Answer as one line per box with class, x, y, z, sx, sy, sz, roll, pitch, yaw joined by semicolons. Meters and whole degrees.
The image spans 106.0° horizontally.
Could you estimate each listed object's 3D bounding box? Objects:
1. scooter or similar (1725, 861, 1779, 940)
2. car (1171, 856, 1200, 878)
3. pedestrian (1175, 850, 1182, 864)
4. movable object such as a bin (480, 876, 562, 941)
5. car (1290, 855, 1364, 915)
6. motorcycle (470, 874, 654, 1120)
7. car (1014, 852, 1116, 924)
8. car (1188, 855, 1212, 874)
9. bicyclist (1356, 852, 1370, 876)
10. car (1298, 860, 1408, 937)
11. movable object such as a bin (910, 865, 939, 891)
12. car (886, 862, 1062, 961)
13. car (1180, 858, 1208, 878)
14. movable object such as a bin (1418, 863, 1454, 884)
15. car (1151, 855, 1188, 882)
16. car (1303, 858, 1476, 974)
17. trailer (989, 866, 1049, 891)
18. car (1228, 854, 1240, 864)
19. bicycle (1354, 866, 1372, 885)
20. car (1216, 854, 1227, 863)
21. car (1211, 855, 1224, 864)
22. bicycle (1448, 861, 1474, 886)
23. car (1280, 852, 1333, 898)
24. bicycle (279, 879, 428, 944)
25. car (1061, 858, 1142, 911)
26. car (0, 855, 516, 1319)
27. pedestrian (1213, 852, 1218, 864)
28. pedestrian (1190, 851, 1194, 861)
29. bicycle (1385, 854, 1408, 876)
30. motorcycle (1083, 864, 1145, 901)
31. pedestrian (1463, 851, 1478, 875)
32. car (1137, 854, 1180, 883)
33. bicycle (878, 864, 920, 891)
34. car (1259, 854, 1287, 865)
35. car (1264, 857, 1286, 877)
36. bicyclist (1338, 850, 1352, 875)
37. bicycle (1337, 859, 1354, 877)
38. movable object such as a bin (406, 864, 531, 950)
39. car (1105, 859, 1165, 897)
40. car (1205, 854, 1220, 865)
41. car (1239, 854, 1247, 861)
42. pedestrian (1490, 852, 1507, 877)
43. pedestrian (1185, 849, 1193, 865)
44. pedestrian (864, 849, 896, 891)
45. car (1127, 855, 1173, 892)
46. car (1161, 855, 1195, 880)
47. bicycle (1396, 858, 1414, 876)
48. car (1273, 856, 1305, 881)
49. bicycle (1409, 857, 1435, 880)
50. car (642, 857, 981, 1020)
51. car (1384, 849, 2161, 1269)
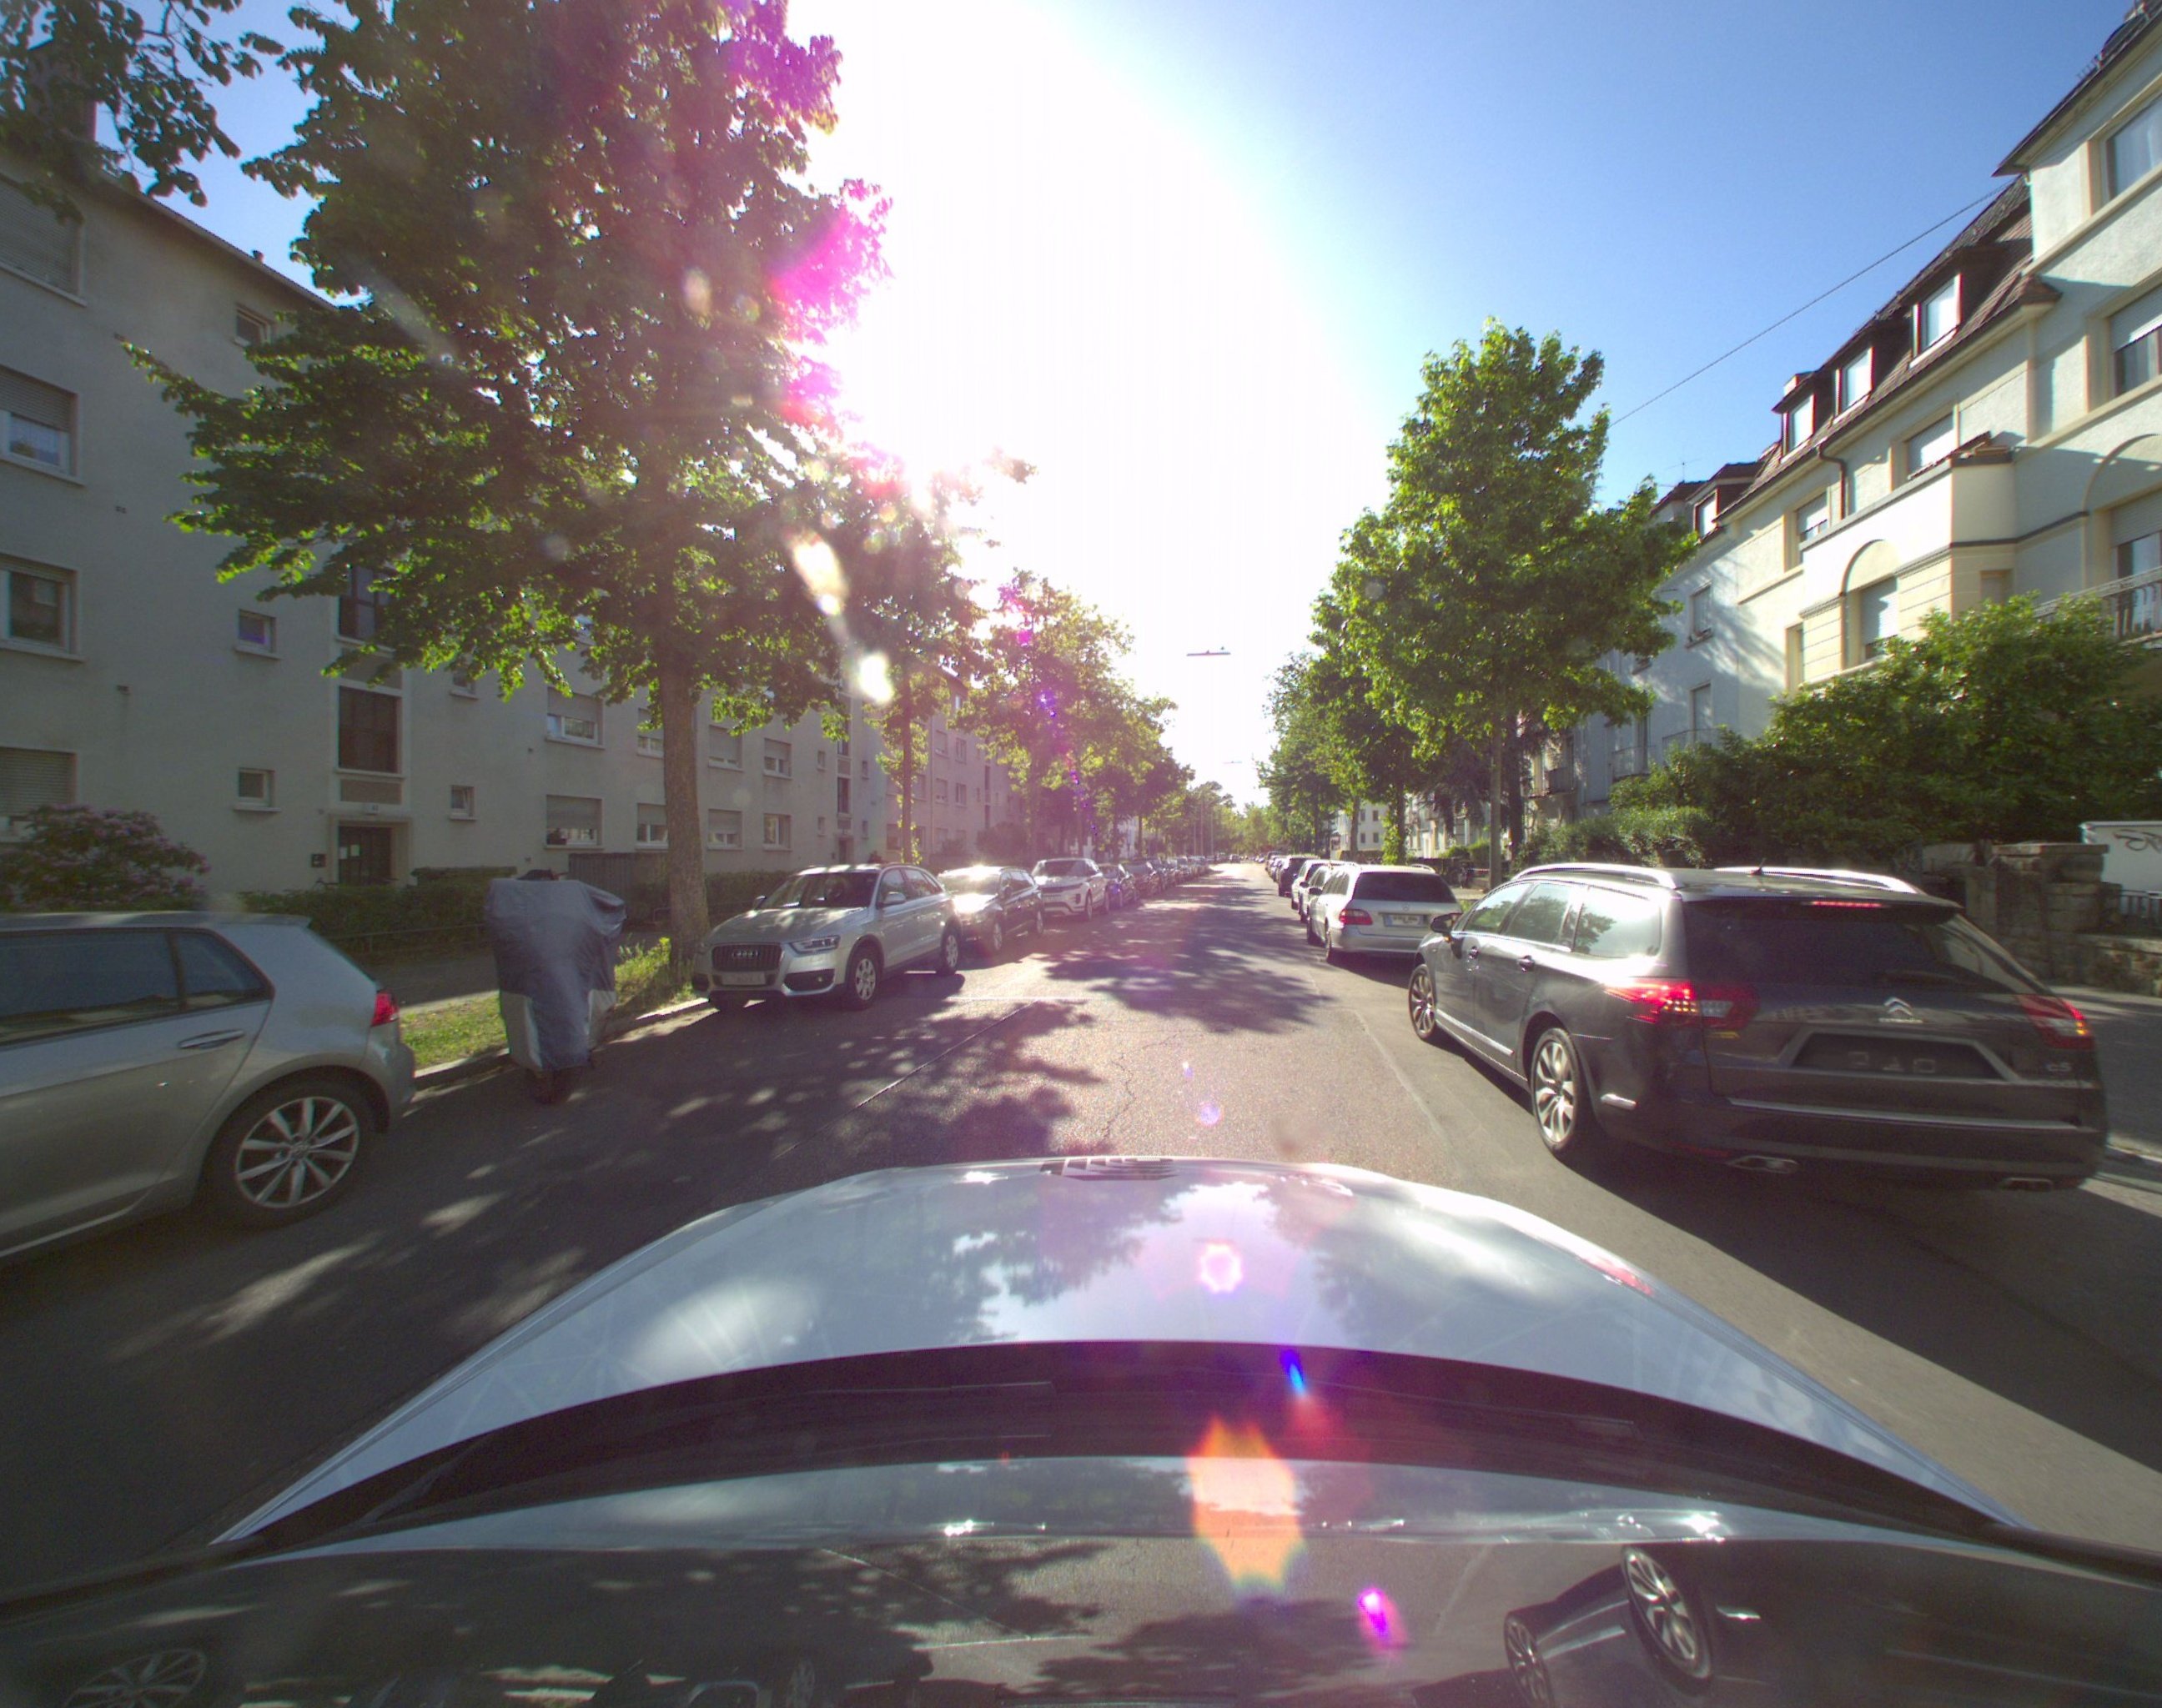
scooter or similar;10.849;0.722;13.192;0.398;1.185;1.213;-1;0;27
car;7.655;0.921;59.302;1.698;1.544;3.944;-3;-1;13
pedestrian;14.256;0.442;119.051;0.854;2.013;0.984;-1;0;10
movable object such as a bin;-9.958;0.955;14.504;0.925;1.092;0.756;-1;-1;6
car;7.095;0.839;23.806;1.644;1.532;3.981;2;0;11
motorcycle;-3.916;0.931;6.359;0.992;1.503;2.213;-1;0;-28
car;-0.307;0.835;21.727;1.717;1.618;4.380;-4;-1;11
car;10.835;0.915;73.790;1.827;1.595;4.275;-2;-1;11
bicyclist;18.168;0.631;52.526;0.672;1.553;1.024;-1;-1;9
car;5.898;0.872;18.186;1.700;1.410;4.876;1;0;11
movable object such as a bin;-6.393;0.988;33.372;0.876;1.034;0.847;-1;0;14
car;-1.776;0.939;15.304;1.717;1.447;4.836;-3;0;11
car;9.422;1.146;67.860;1.980;1.453;4.275;-3;-1;11
movable object such as a bin;16.012;0.856;36.736;1.209;0.905;1.675;-1;0;32
car;5.283;0.844;48.382;1.750;1.444;3.921;-3;-1;11
car;4.768;0.823;13.308;1.810;1.469;4.924;1;0;11
trailer;-2.764;1.096;36.973;1.776;1.034;3.294;-1;0;14
car;26.202;0.866;139.729;1.773;1.609;4.009;-1;0;8
bicycle;18.204;1.387;52.663;0.679;1.153;2.409;-1;0;9
car;28.163;0.882;163.651;1.980;1.585;4.013;-1;0;12
car;23.830;0.921;142.225;1.980;1.585;4.013;-1;0;12
bicycle;15.492;0.793;33.250;0.577;0.975;1.910;-1;0;14
car;9.102;0.783;33.208;1.912;1.651;5.114;1;0;14
bicycle;-13.003;0.996;14.647;0.782;1.041;1.940;-1;0;8
car;0.792;0.957;26.972;1.716;1.477;4.635;-4;-1;12
car;-4.736;0.840;2.562;2.028;1.524;4.623;-2;0;13
pedestrian;20.521;0.633;124.343;0.712;1.900;0.837;-1;0;2
pedestrian;20.894;0.409;153.256;0.758;1.900;0.820;-1;0;6
bicycle;18.893;0.645;48.813;0.833;1.257;2.236;0;0;8
motorcycle;1.235;1.055;30.596;2.277;1.270;0.809;-2;-1;1
pedestrian;18.314;0.422;38.306;0.506;1.142;0.758;0;0;14
car;4.224;0.749;43.738;1.817;1.453;4.136;-2;0;12
bicycle;-8.098;1.033;36.299;0.507;1.153;1.967;0;0;35
car;28.960;0.842;122.968;3.964;1.587;1.731;-1;0;8
car;19.610;1.273;82.391;1.958;1.949;5.001;-1;0;11
bicyclist;17.265;0.522;53.270;0.673;1.609;0.924;-1;-1;9
bicycle;17.258;0.886;53.222;0.679;1.153;2.409;-1;0;9
movable object such as a bin;-10.074;0.837;13.453;0.925;1.324;1.382;-1;0;7
car;2.304;0.963;33.644;1.767;1.379;4.277;-3;-1;12
car;20.585;0.890;127.233;1.980;1.671;4.013;-1;0;12
car;39.187;0.820;197.361;1.882;1.560;4.013;-1;0;12
pedestrian;19.670;0.494;38.375;0.506;1.142;0.758;0;0;10
pedestrian;14.012;0.377;105.738;0.852;2.013;0.986;-1;0;20
pedestrian;-9.154;0.722;37.122;0.925;1.888;1.031;-1;-1;22
car;3.353;0.878;38.846;1.779;1.566;4.477;-3;-1;9
car;6.470;0.867;53.914;1.799;1.596;4.246;-1;0;12
bicycle;18.472;0.740;46.440;0.591;0.957;1.910;-1;0;12
car;12.910;0.891;50.710;1.777;1.453;3.794;0;0;12
bicycle;17.552;0.733;41.971;0.799;1.115;2.005;0;0;9
car;-2.928;0.824;10.230;2.052;1.524;4.734;-1;0;9
car;3.506;0.774;5.574;1.883;1.524;4.982;0;-1;11
